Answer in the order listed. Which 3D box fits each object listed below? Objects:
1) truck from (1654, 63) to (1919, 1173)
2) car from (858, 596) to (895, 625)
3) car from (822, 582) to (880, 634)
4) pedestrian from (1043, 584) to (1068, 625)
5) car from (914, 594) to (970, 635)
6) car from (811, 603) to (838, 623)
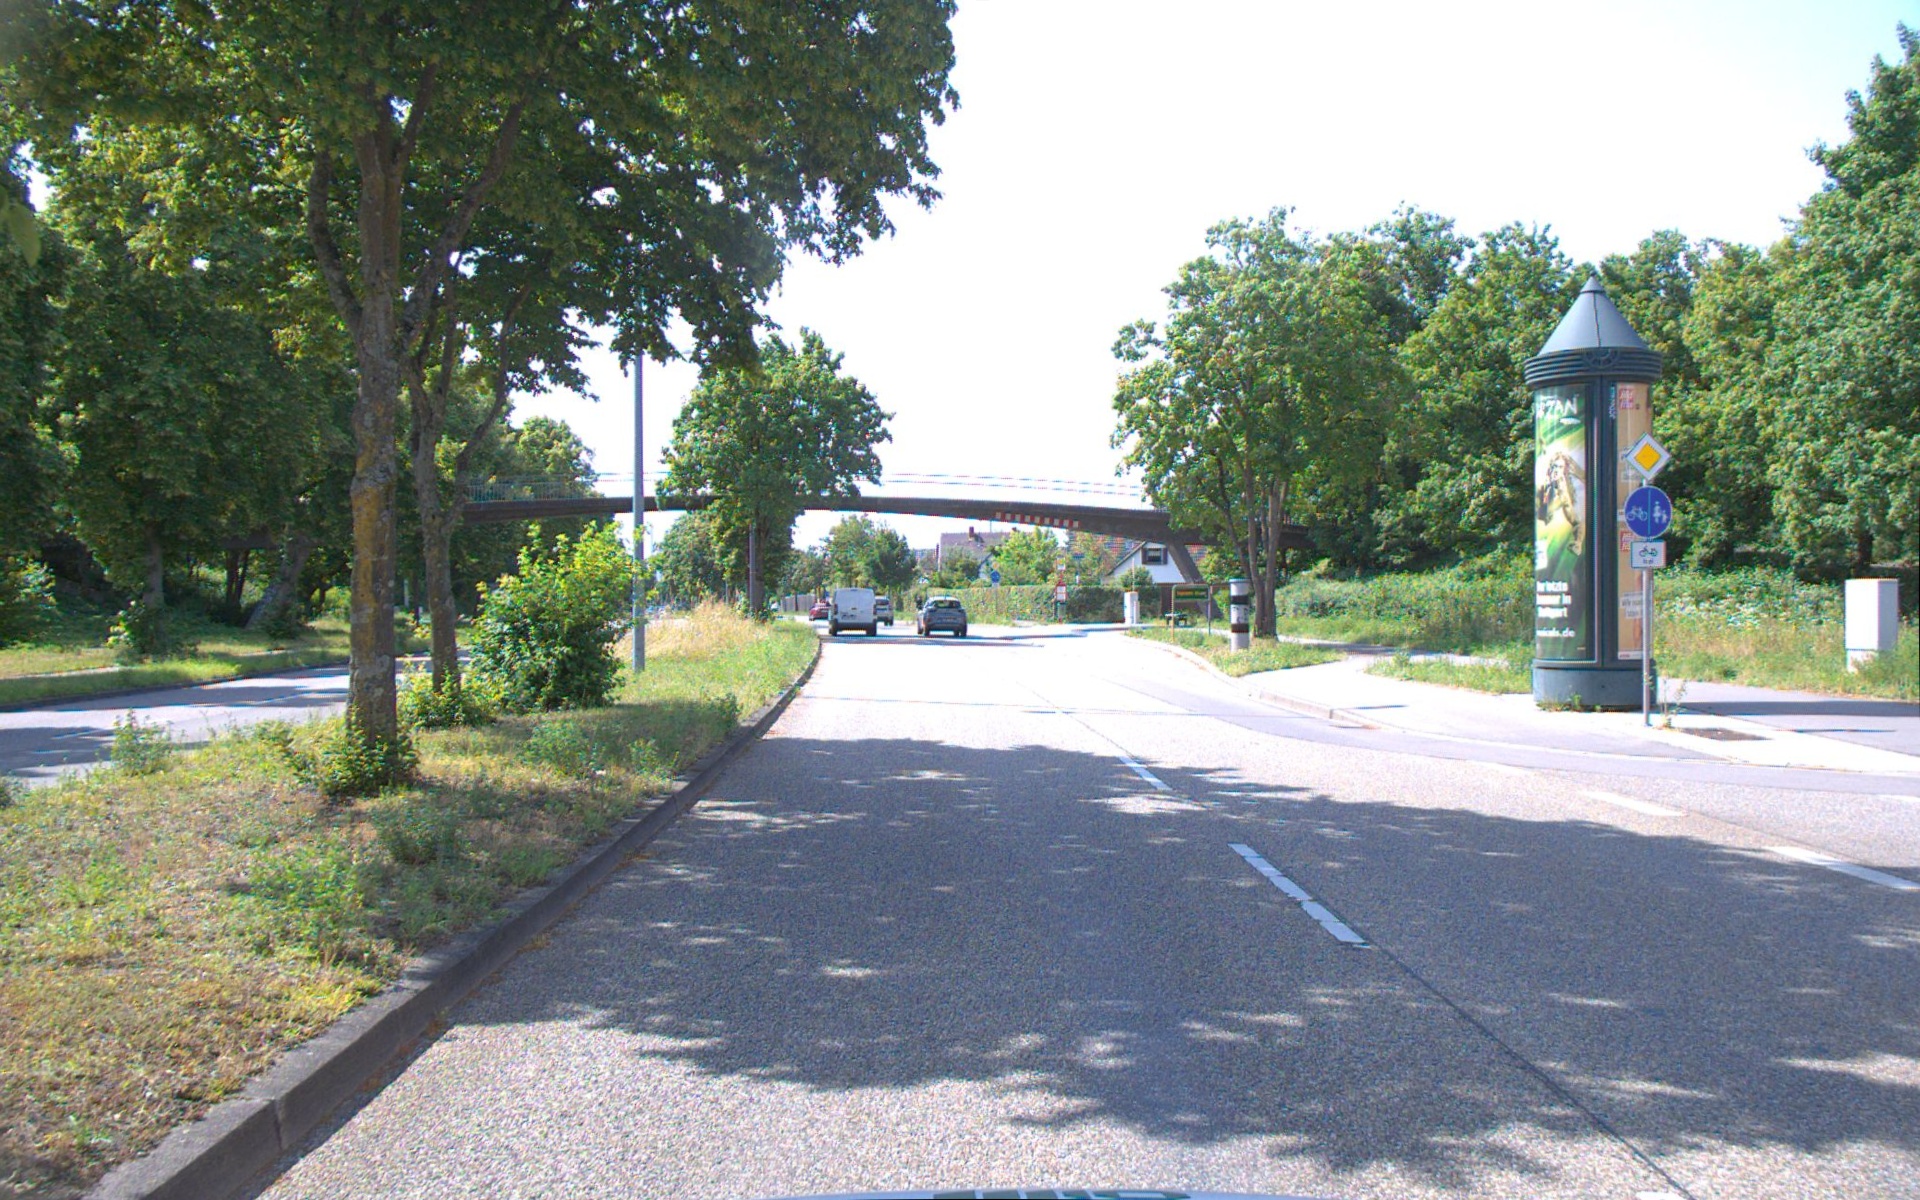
[{"bbox_3d":[3.713,0.067,1.913,2.219,2.931,8.025,1,0,-2],"label":"truck"},{"bbox_3d":[-5.002,0.632,98.246,1.840,1.681,3.992,0,-1,-8],"label":"car"},{"bbox_3d":[-4.350,0.312,65.312,2.026,1.945,4.639,0,0,-7],"label":"car"},{"bbox_3d":[4.557,0.218,78.868,0.936,1.856,1.086,-2,-2,-8],"label":"pedestrian"},{"bbox_3d":[-0.762,0.596,67.612,1.839,1.617,4.178,0,0,-7],"label":"car"},{"bbox_3d":[-11.060,1.068,135.211,1.846,1.615,3.990,0,0,-10],"label":"car"}]
